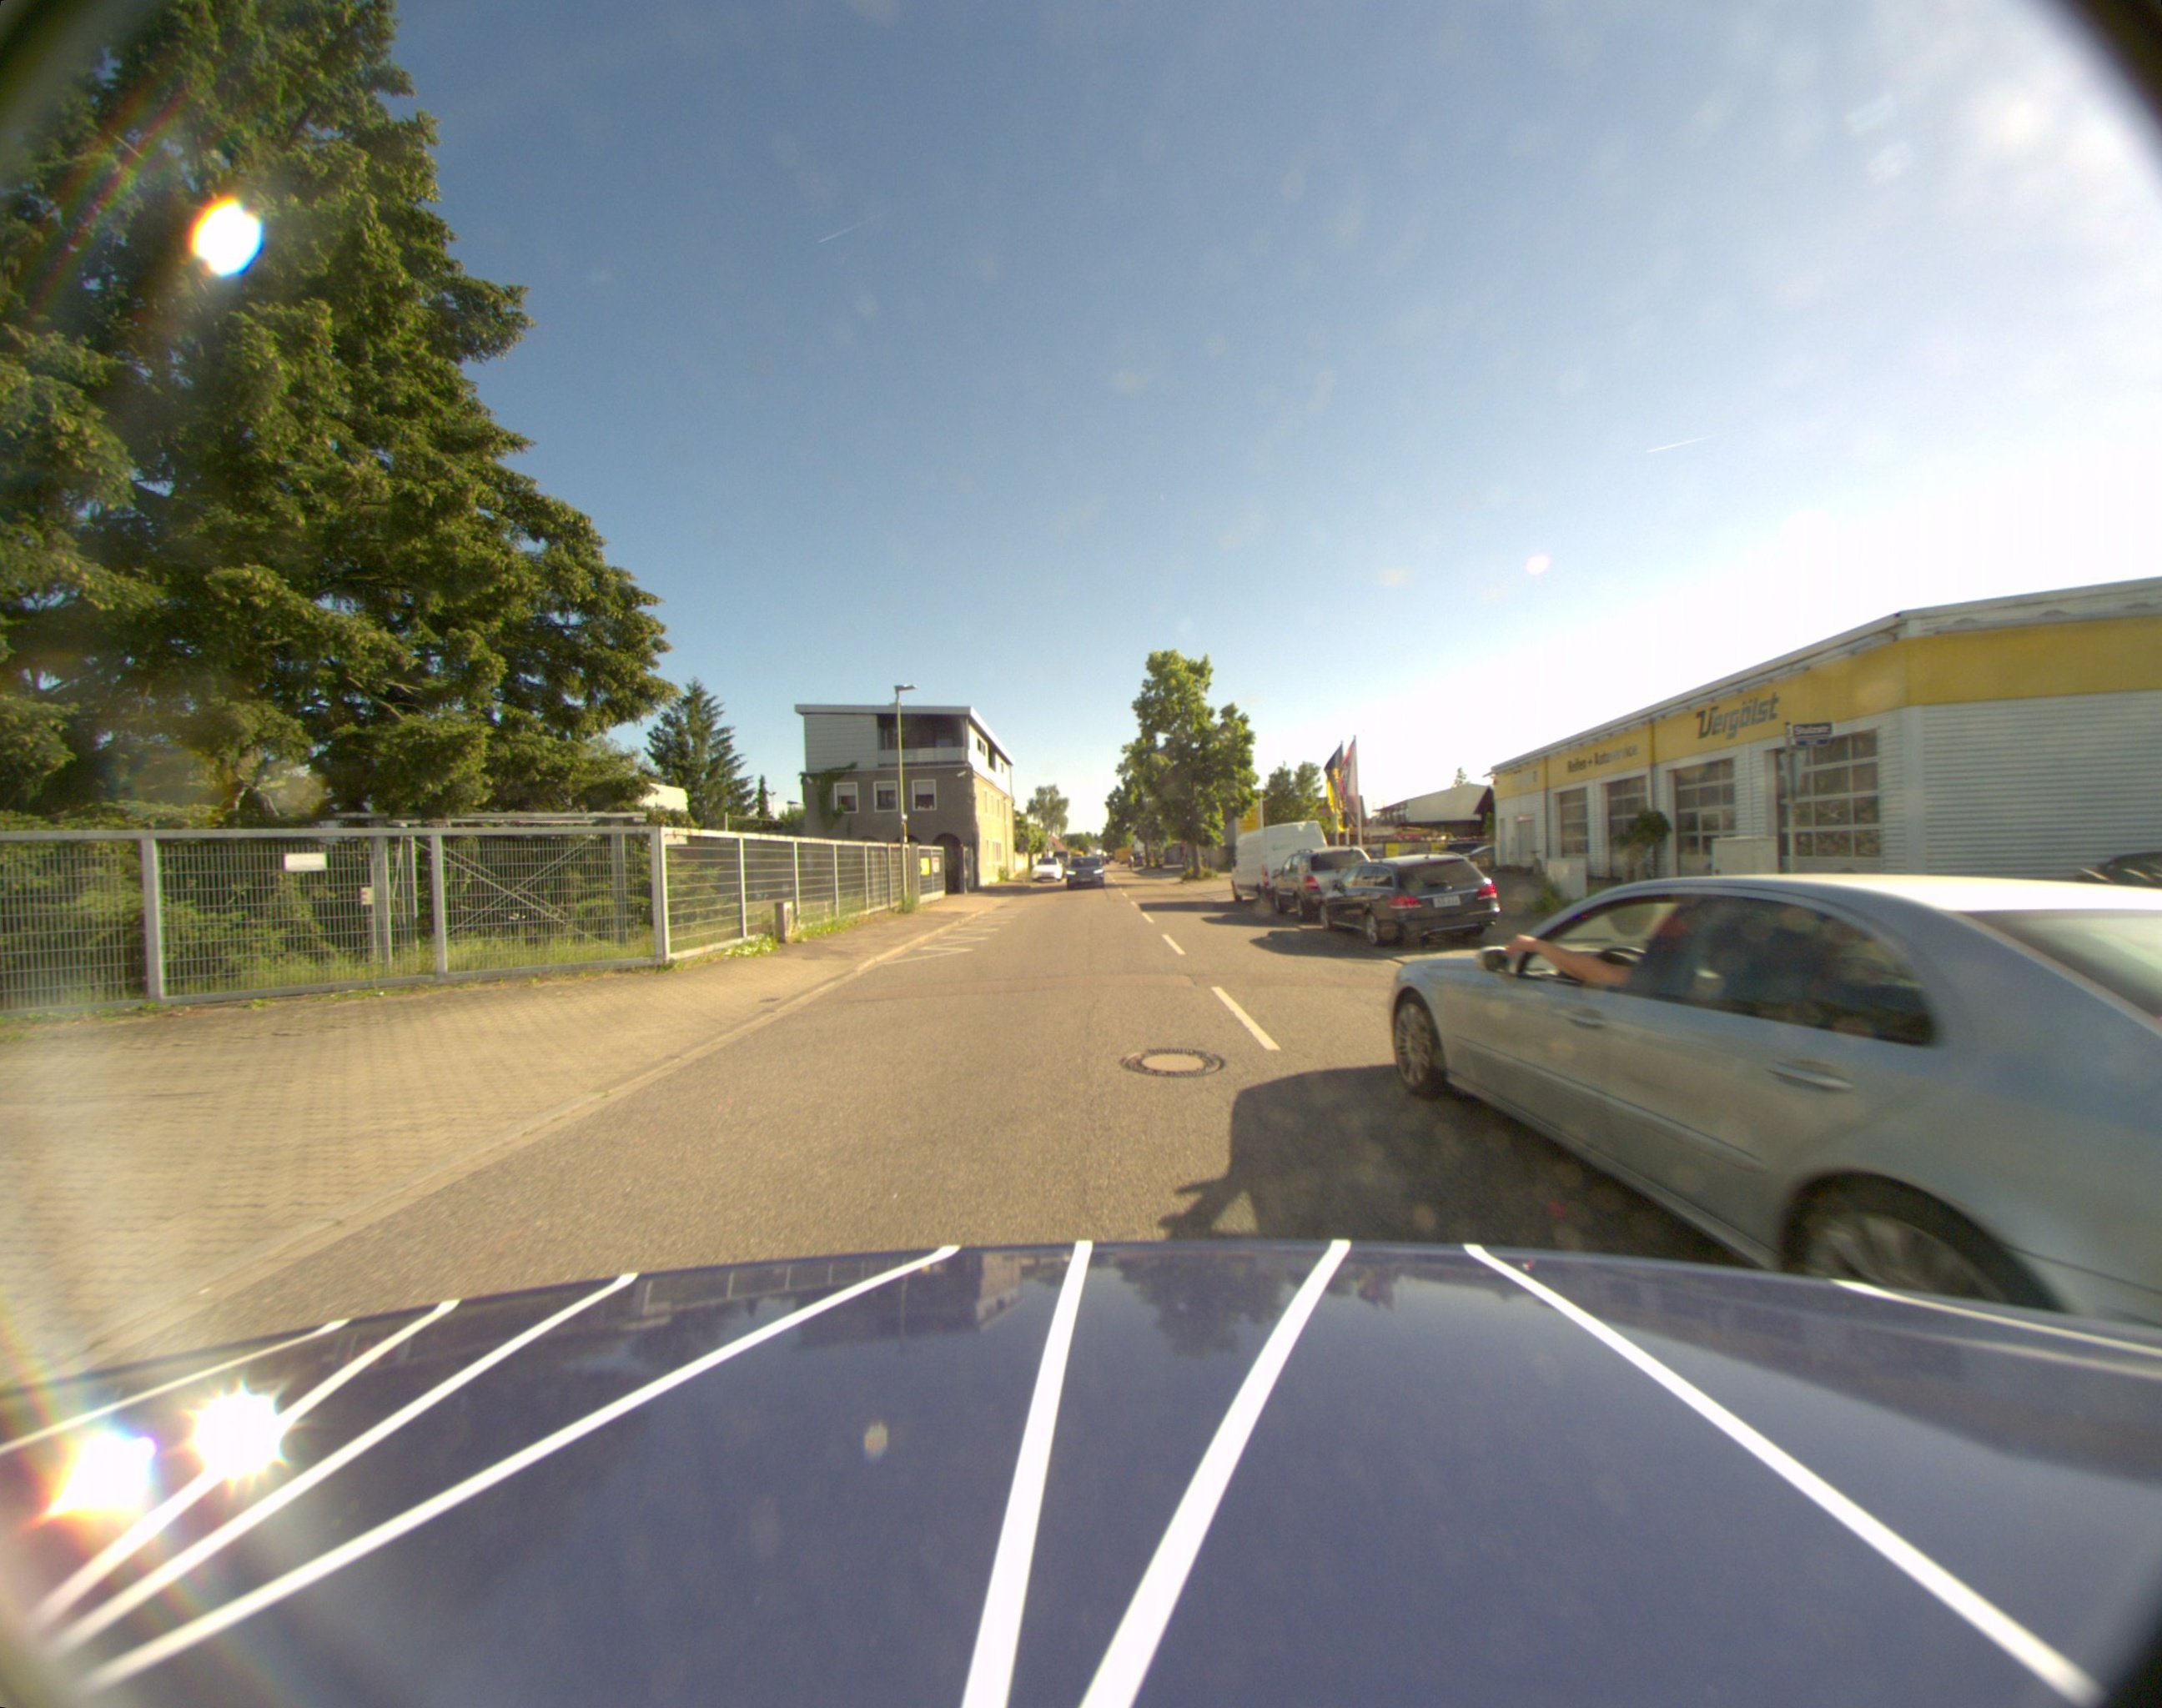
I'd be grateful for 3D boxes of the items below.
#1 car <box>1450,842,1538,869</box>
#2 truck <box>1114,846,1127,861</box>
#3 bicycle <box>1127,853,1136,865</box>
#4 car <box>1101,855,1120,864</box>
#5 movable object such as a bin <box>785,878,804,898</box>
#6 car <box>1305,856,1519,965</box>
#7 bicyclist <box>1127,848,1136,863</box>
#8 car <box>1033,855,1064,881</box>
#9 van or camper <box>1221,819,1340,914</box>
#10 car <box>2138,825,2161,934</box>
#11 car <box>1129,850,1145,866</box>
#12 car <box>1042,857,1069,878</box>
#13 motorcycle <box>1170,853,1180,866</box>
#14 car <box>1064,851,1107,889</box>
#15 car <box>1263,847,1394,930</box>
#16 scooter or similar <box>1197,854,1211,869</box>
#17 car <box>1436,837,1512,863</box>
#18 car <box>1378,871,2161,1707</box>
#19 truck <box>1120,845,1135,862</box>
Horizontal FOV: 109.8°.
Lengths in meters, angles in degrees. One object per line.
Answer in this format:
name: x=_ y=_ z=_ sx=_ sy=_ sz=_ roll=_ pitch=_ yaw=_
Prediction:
car: x=25.985 y=0.107 z=47.946 sx=4.450 sy=1.499 sz=2.002 roll=-2 pitch=0 yaw=13
truck: x=8.612 y=-0.093 z=166.838 sx=2.286 sy=3.012 sz=5.910 roll=-7 pitch=1 yaw=1
bicycle: x=5.339 y=0.542 z=80.466 sx=0.841 sy=1.232 sz=2.604 roll=1 pitch=1 yaw=4
car: x=5.037 y=0.927 z=130.572 sx=1.872 sy=1.412 sz=4.537 roll=0 pitch=0 yaw=22
movable object such as a bin: x=-14.522 y=1.730 z=38.570 sx=0.616 sy=0.967 sz=0.749 roll=-2 pitch=2 yaw=2
car: x=5.861 y=0.880 z=14.279 sx=1.804 sy=1.501 sz=5.002 roll=-6 pitch=0 yaw=1
bicyclist: x=5.352 y=0.184 z=80.459 sx=0.841 sy=1.533 sz=1.137 roll=1 pitch=1 yaw=4
car: x=-2.187 y=0.928 z=52.421 sx=1.937 sy=1.635 sz=4.769 roll=-1 pitch=0 yaw=-1
van or camper: x=6.328 y=0.373 z=25.101 sx=2.076 sy=2.534 sz=6.403 roll=-6 pitch=0 yaw=1
car: x=17.422 y=0.308 z=9.847 sx=4.165 sy=1.565 sz=1.917 roll=-2 pitch=0 yaw=11
car: x=7.130 y=0.500 z=97.169 sx=1.779 sy=1.838 sz=4.616 roll=-4 pitch=0 yaw=4
car: x=-1.948 y=1.017 z=59.046 sx=1.602 sy=1.464 sz=4.191 roll=-1 pitch=0 yaw=5
motorcycle: x=9.817 y=0.586 z=79.420 sx=0.701 sy=1.226 sz=2.539 roll=-4 pitch=0 yaw=0
car: x=0.233 y=0.766 z=39.160 sx=1.998 sy=1.750 sz=5.015 roll=-3 pitch=0 yaw=0
car: x=6.163 y=0.778 z=19.556 sx=1.998 sy=1.728 sz=4.576 roll=-5 pitch=0 yaw=4
scooter or similar: x=10.018 y=0.607 z=61.838 sx=0.484 sy=1.263 sz=1.576 roll=-2 pitch=1 yaw=-17
car: x=27.443 y=-0.278 z=53.194 sx=4.325 sy=1.645 sz=2.002 roll=-2 pitch=0 yaw=13
car: x=2.762 y=0.911 z=2.610 sx=1.751 sy=1.439 sz=4.360 roll=-4 pitch=1 yaw=1
truck: x=7.914 y=-0.122 z=128.762 sx=2.173 sy=2.698 sz=5.749 roll=-4 pitch=1 yaw=1
